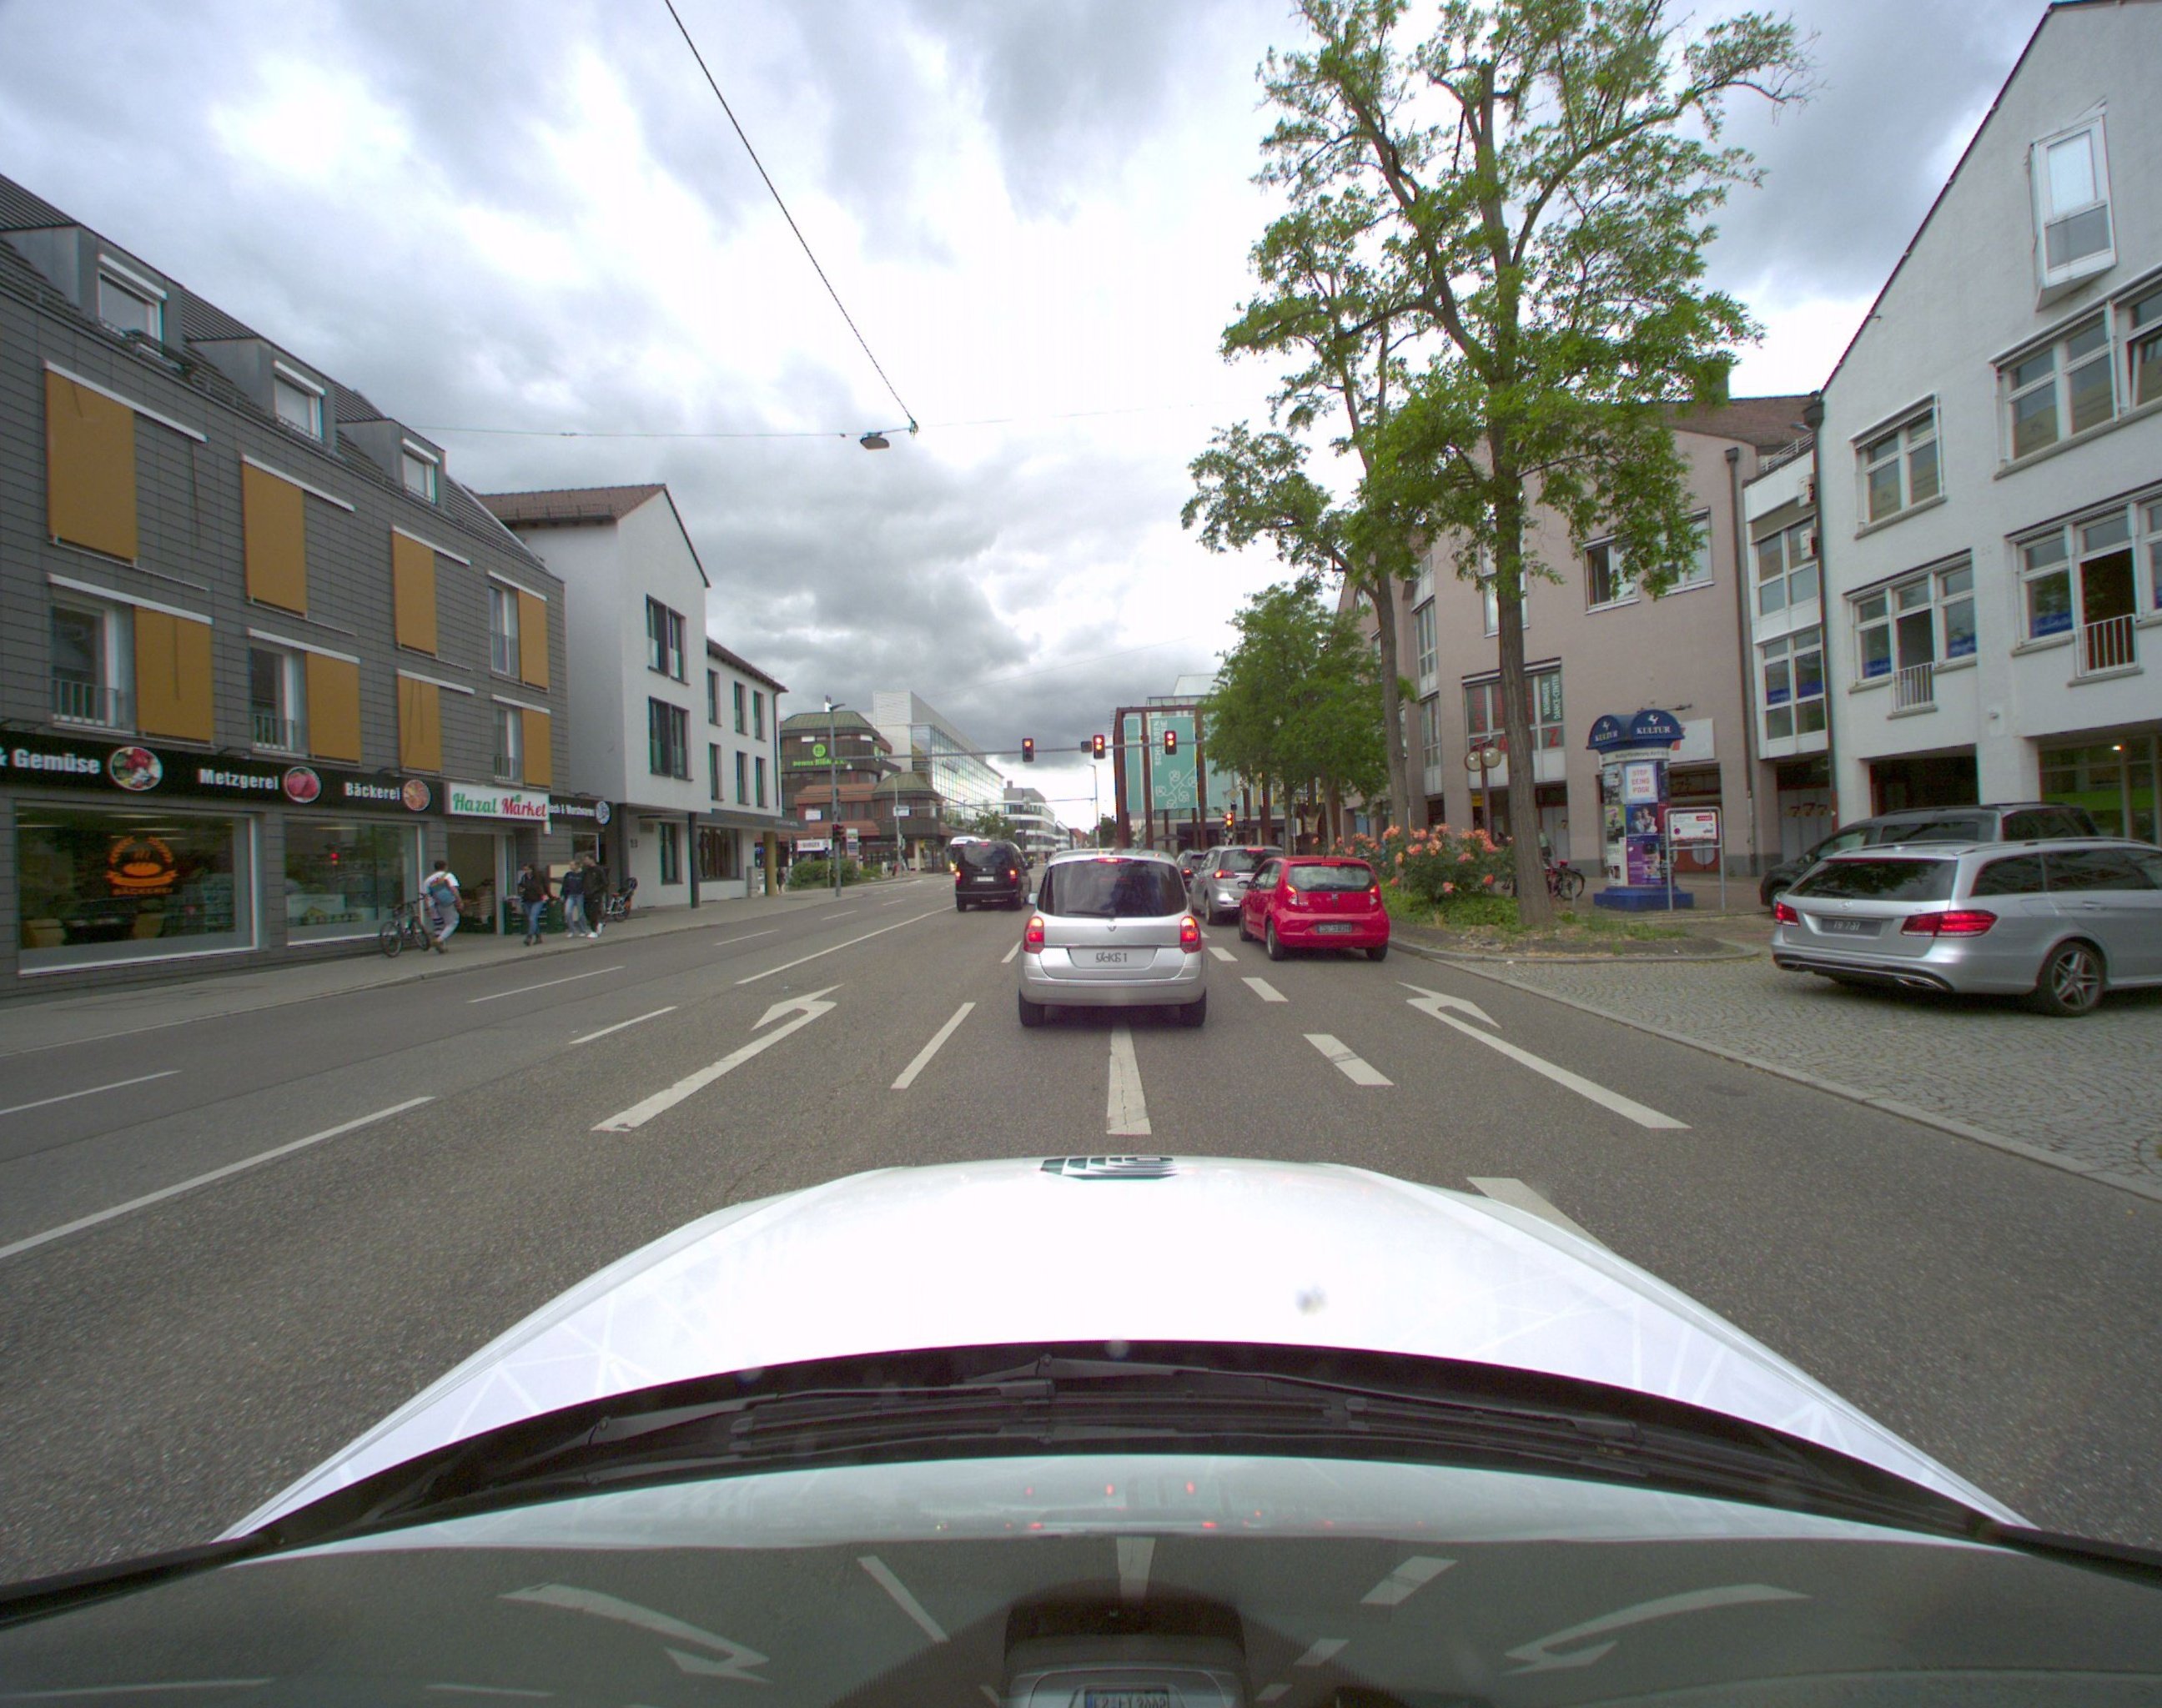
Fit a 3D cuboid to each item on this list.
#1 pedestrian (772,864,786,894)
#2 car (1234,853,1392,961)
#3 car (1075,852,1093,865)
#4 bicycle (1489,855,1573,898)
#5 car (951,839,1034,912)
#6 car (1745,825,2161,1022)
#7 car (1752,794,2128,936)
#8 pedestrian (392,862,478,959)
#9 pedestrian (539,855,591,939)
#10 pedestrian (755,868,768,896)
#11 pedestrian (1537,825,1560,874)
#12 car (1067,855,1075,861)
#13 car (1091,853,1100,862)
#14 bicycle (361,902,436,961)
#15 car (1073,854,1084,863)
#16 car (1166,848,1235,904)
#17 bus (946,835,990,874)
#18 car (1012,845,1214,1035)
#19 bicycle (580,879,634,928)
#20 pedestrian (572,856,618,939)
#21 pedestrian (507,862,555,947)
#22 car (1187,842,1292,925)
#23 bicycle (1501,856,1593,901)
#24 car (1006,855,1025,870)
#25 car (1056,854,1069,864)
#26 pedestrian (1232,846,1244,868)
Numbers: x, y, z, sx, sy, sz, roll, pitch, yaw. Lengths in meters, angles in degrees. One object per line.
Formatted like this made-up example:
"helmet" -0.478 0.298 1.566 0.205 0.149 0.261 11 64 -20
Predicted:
"pedestrian" -17.619 1.454 47.501 0.705 1.658 0.934 -2 0 -20
"car" 3.429 0.709 12.611 1.580 1.443 3.350 0 0 2
"car" 0.430 0.559 109.431 1.907 1.677 4.249 -2 0 6
"bicycle" 11.194 0.556 20.285 1.760 0.997 0.447 -2 0 5
"car" -2.410 0.541 23.281 1.738 1.855 4.635 -1 0 1
"car" 9.223 0.539 7.917 4.353 1.448 1.816 -3 1 -8
"car" 13.166 0.137 12.900 1.633 1.831 3.963 -3 0 -3
"pedestrian" -11.886 1.015 15.021 0.751 1.705 0.981 1 0 1
"pedestrian" -11.385 0.931 17.975 0.680 1.790 0.648 -2 0 -1
"pedestrian" -19.097 1.652 48.704 0.664 1.649 0.788 -2 0 -20
"pedestrian" 16.268 -0.149 28.318 0.630 1.677 0.592 -2 0 30
"car" -2.710 1.128 217.888 1.793 1.540 4.068 -2 0 3
"car" 3.313 0.714 184.468 1.987 1.949 4.951 -2 0 1
"bicycle" -12.661 1.407 15.149 0.325 0.954 1.478 -2 0 -9
"car" -0.424 0.840 157.661 1.793 1.540 4.068 -2 0 3
"car" 3.603 0.615 25.201 1.581 1.595 3.868 0 0 0
"bus" -10.325 0.026 75.528 2.678 3.261 8.653 -2 0 1
"car" 0.307 0.698 8.352 1.634 1.527 3.395 -1 0 1
"bicycle" -12.794 1.304 22.011 0.385 1.186 1.825 -2 0 -1
"pedestrian" -10.740 0.952 18.027 0.567 1.775 0.647 -2 0 0
"pedestrian" -11.066 1.003 16.399 0.654 1.650 0.555 -2 0 -22
"car" 3.376 0.585 18.027 1.581 1.634 3.916 0 0 0
"bicycle" 11.277 0.589 19.729 1.892 0.997 0.468 -2 0 5
"car" -6.449 0.862 80.246 1.550 1.392 3.288 -2 0 0
"car" -3.177 0.804 137.872 1.793 1.540 4.068 -2 0 3
"pedestrian" 11.674 0.212 60.549 0.652 1.650 0.557 -2 0 -13
